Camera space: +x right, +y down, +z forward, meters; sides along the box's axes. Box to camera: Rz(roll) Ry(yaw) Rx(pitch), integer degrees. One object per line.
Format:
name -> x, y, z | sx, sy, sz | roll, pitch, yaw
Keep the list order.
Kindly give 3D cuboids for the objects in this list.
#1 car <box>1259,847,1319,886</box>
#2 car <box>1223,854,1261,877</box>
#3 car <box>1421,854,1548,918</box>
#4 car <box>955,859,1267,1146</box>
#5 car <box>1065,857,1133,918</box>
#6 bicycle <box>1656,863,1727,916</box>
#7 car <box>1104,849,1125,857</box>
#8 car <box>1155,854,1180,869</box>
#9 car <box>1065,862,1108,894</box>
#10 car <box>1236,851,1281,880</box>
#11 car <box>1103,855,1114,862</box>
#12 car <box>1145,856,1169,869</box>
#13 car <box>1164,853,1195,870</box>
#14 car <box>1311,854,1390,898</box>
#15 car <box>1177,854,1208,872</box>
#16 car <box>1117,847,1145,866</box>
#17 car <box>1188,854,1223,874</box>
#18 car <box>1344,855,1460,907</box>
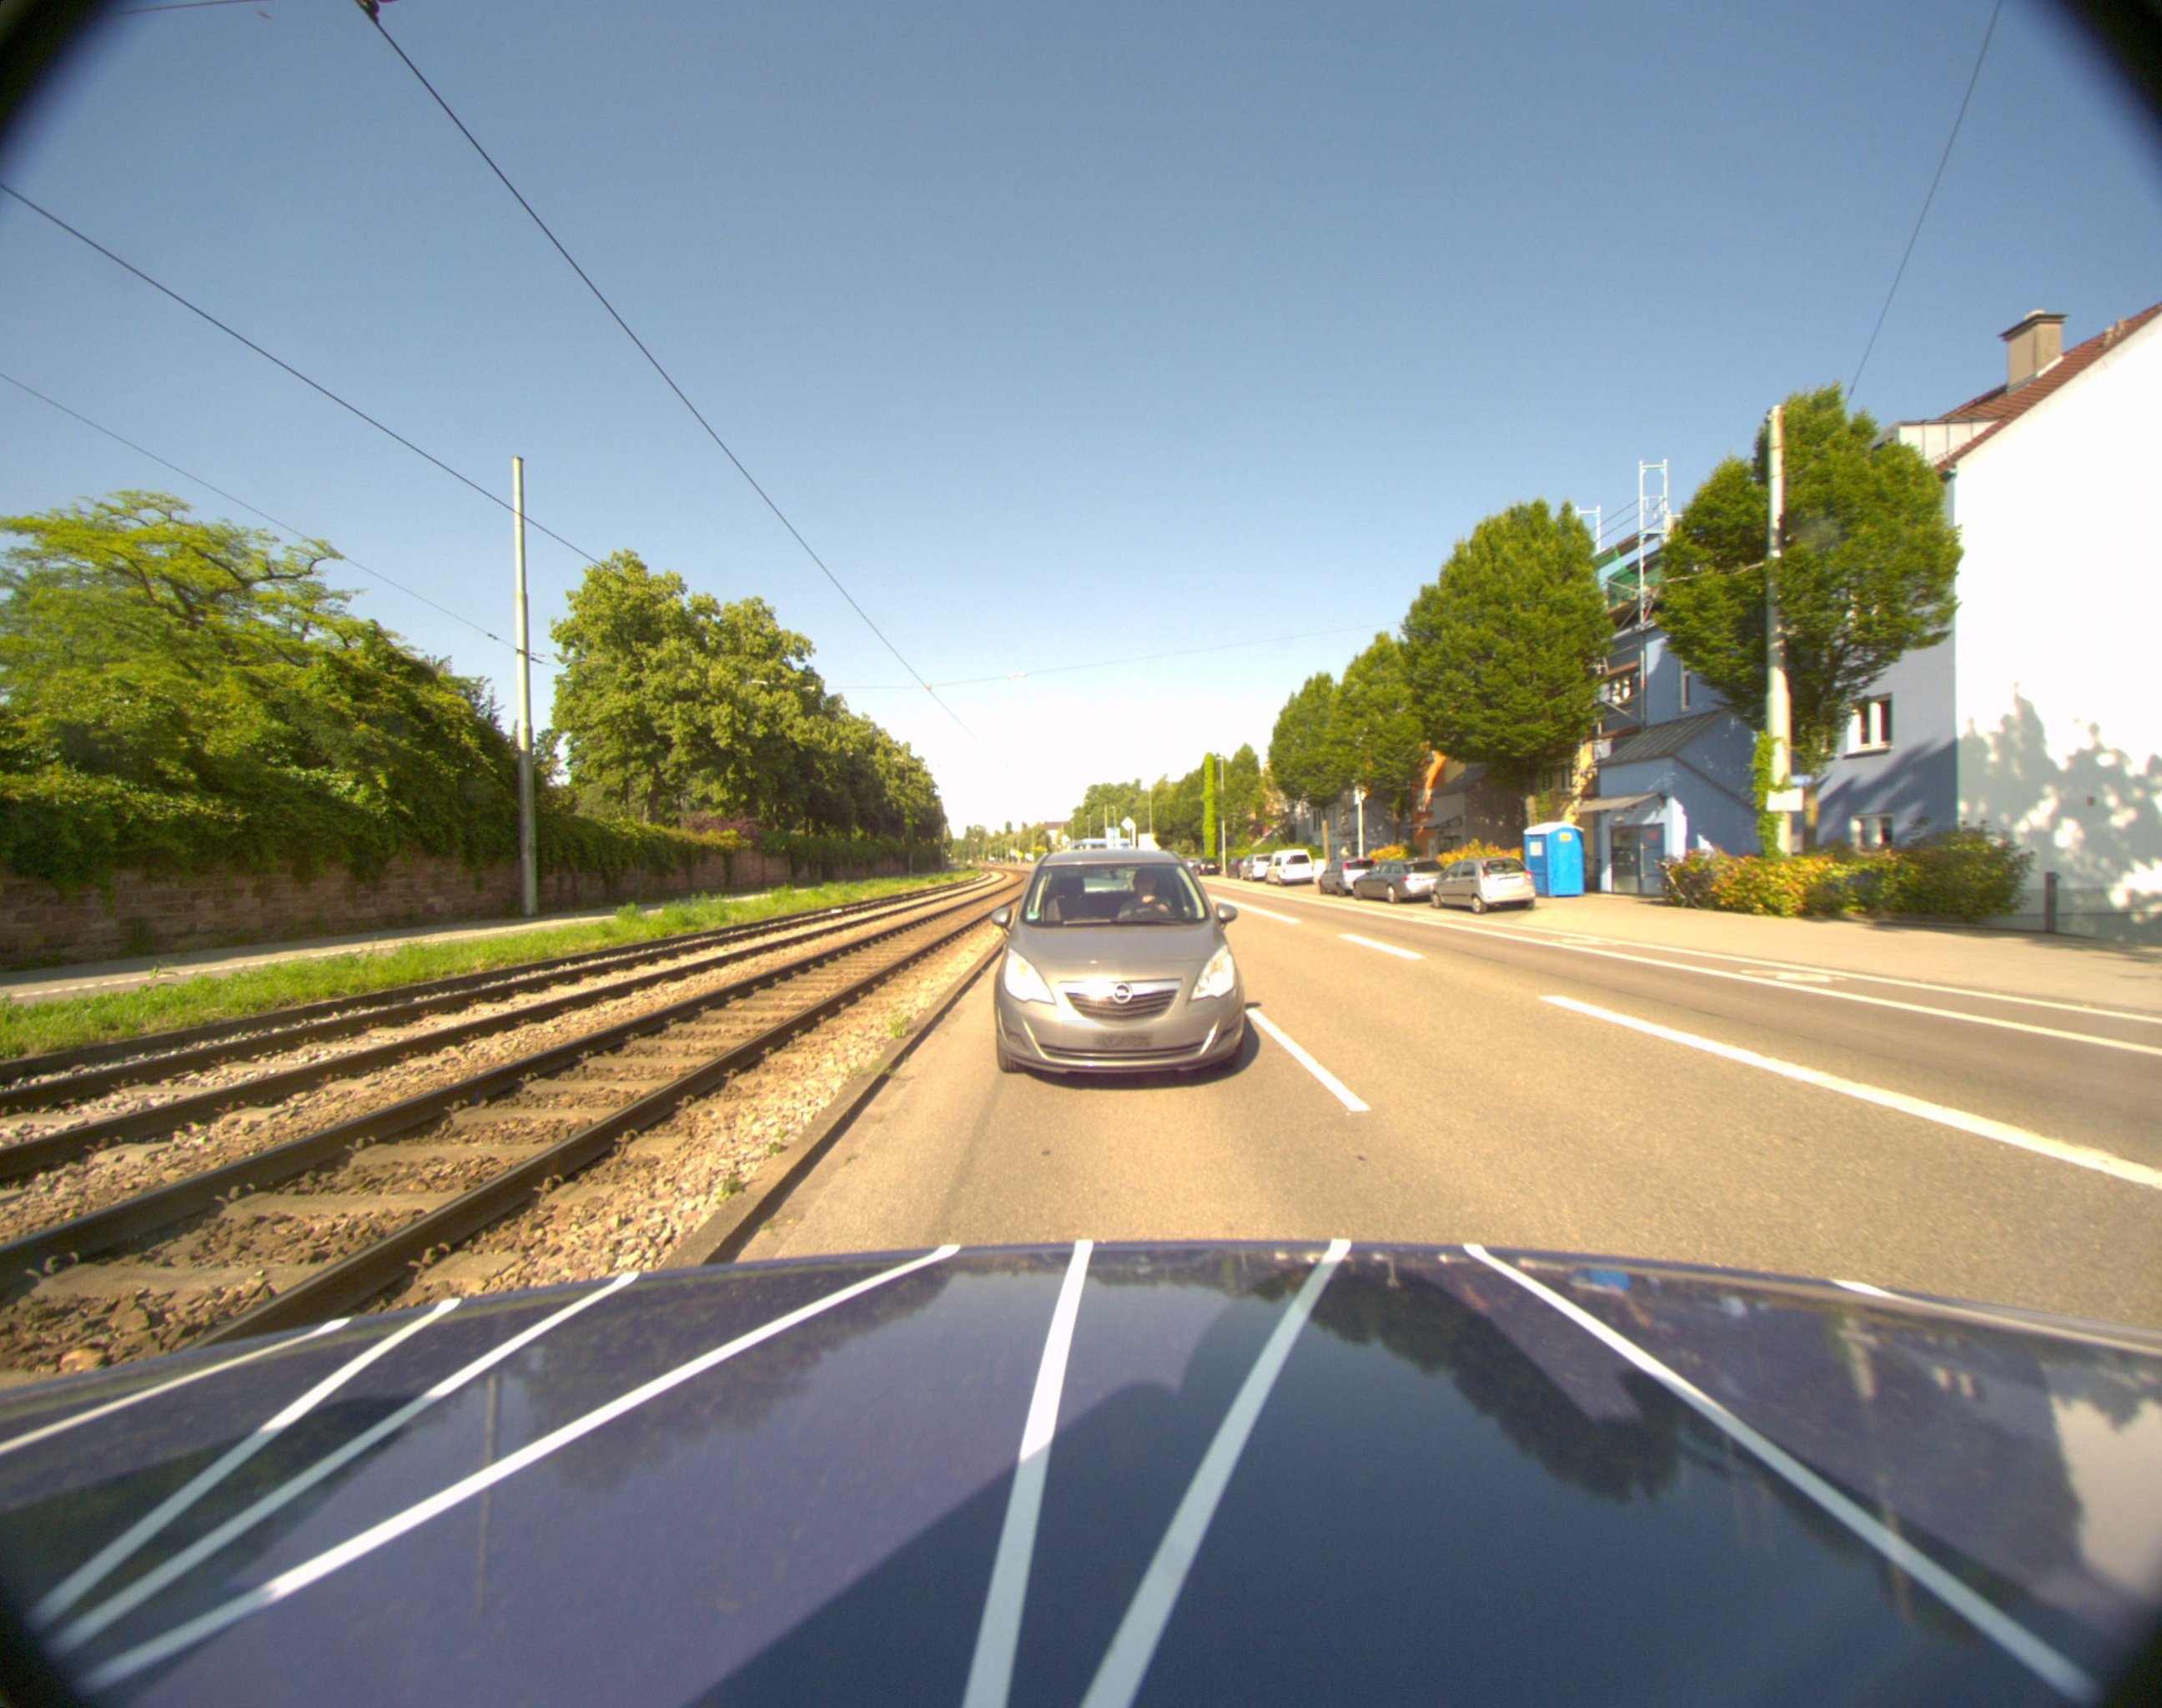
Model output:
car -> 11.324, 0.646, 41.746 | 1.767, 1.835, 4.579 | -6, 0, -1
car -> 11.261, 0.780, 53.360 | 1.620, 1.457, 4.057 | -3, 0, -2
car -> 11.241, 0.831, 21.455 | 1.605, 1.486, 3.509 | -5, 0, 0
car -> 0.230, 0.872, 6.253 | 1.730, 1.574, 3.764 | -2, 0, 2
car -> 0.467, 0.893, 21.841 | 1.710, 1.487, 4.000 | -3, 0, 0
bicycle -> 14.335, 0.803, 17.891 | 0.444, 1.147, 1.785 | -1, 1, 7
car -> 8.325, -0.325, 189.747 | 5.086, 1.929, 1.856 | -1, 0, -5
car -> 9.294, 0.797, 81.775 | 1.768, 1.565, 4.159 | -1, 1, -6
car -> 0.195, 1.055, 34.790 | 1.579, 1.306, 3.998 | -3, 0, -4
car -> 11.149, 0.681, 47.971 | 1.672, 1.691, 4.824 | -3, 0, 0
car -> 6.122, 1.033, 172.176 | 1.742, 1.482, 4.271 | -1, 0, -8
car -> 8.667, 0.934, 87.075 | 1.657, 1.416, 4.710 | -1, 0, -7
car -> 9.775, 0.760, 75.908 | 1.768, 1.565, 4.433 | -2, 0, -10
car -> 11.125, 0.855, 31.647 | 1.767, 1.530, 3.981 | -6, 0, 1
car -> 10.310, 0.825, 70.570 | 1.717, 1.463, 4.841 | -3, 1, -5
car -> 6.655, 0.343, 101.892 | 2.159, 2.443, 6.179 | -3, 0, -9
car -> 10.542, 0.808, 64.690 | 1.871, 1.535, 4.908 | -3, 0, -3
car -> 11.054, 0.858, 26.575 | 1.753, 1.502, 4.754 | -5, 0, -2
